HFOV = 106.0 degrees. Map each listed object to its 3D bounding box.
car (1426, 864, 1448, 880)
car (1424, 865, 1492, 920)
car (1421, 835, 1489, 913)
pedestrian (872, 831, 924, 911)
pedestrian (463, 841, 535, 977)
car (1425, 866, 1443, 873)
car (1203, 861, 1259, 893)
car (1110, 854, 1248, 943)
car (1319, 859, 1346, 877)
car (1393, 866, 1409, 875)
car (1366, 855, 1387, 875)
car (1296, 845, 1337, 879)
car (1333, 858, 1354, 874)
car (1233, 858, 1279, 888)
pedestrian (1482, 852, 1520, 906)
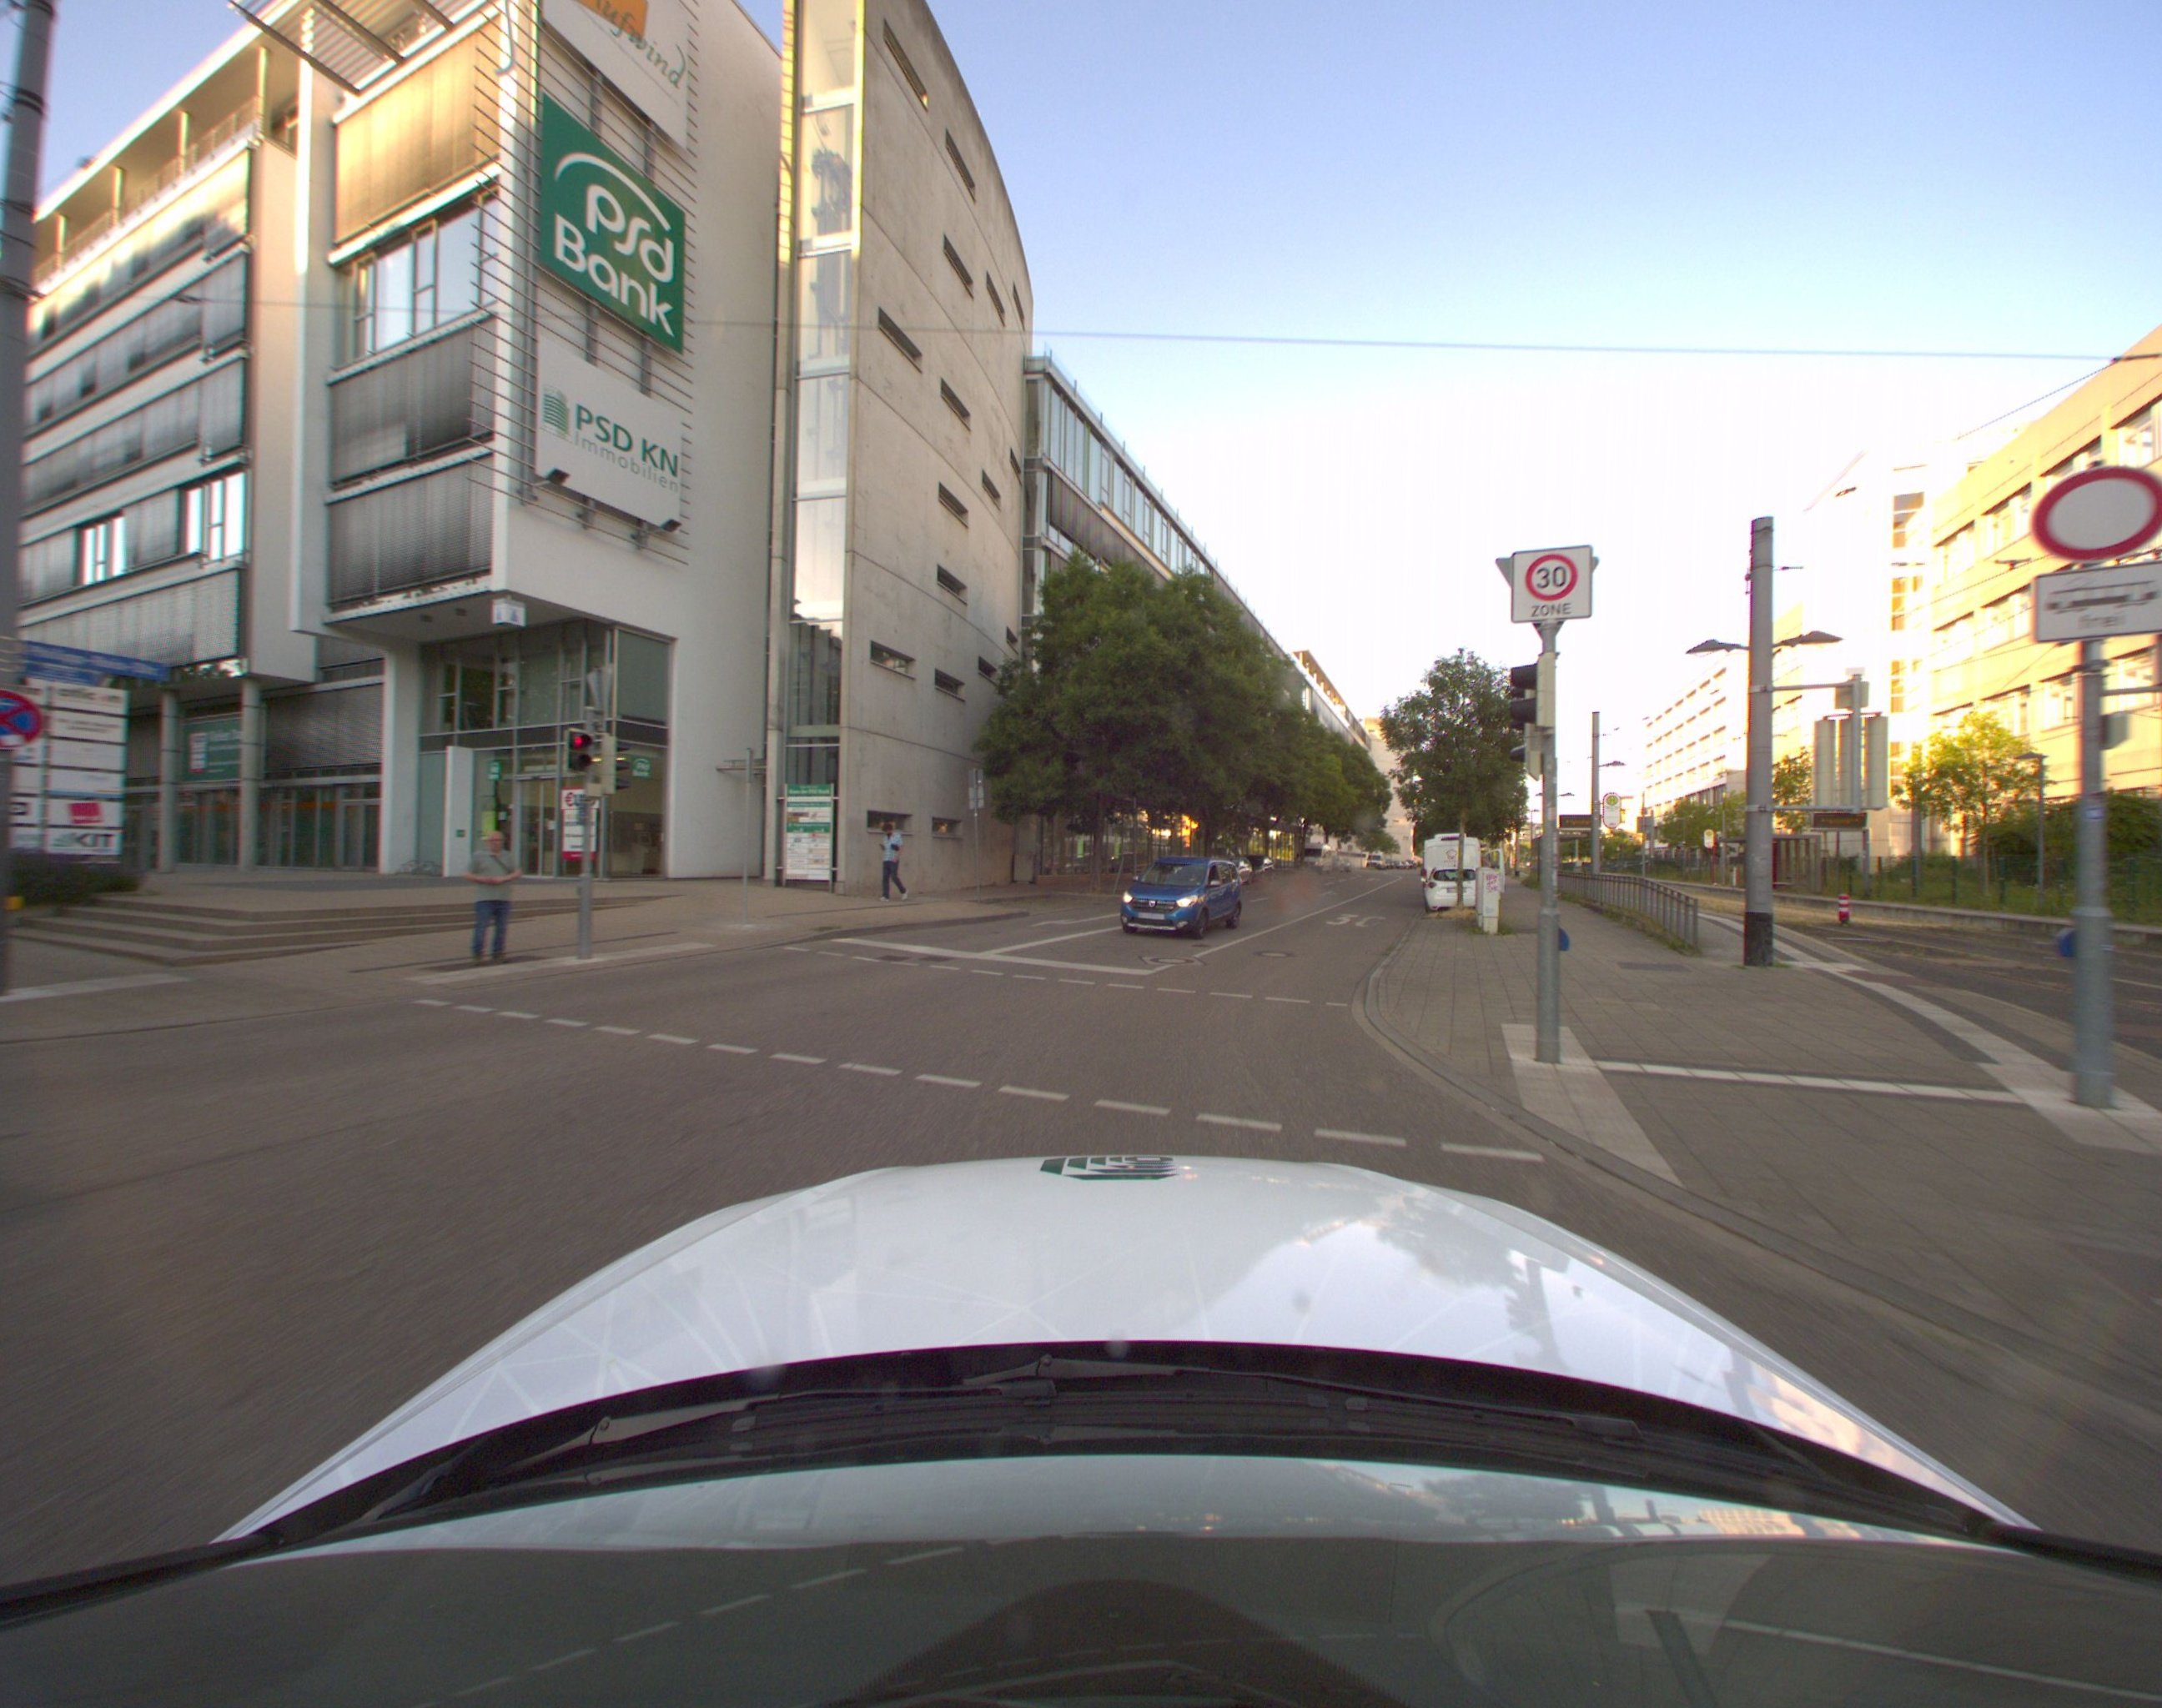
[{"bbox_3d":[33.427,1.677,76.560,1.772,1.452,4.539,1,0,22],"label":"car"},{"bbox_3d":[11.810,1.156,25.644,1.732,1.584,4.035,-3,-2,24],"label":"car"},{"bbox_3d":[14.060,0.744,30.780,2.032,2.657,5.464,-3,-2,24],"label":"car"},{"bbox_3d":[-4.577,0.416,20.418,0.692,1.882,0.883,8,2,21],"label":"pedestrian"},{"bbox_3d":[-7.595,0.692,10.633,0.711,1.701,0.540,2,-1,-38],"label":"pedestrian"},{"bbox_3d":[69.371,3.048,160.103,1.926,1.382,4.426,4,1,41],"label":"car"},{"bbox_3d":[7.889,1.165,42.546,1.688,1.461,4.653,4,1,25],"label":"car"},{"bbox_3d":[2.320,0.895,18.168,1.732,1.678,4.298,2,0,26],"label":"car"},{"bbox_3d":[24.060,1.309,77.888,1.827,1.571,4.292,1,0,25],"label":"car"},{"bbox_3d":[56.005,2.934,142.526,1.706,1.457,4.298,3,1,31],"label":"car"},{"bbox_3d":[42.157,1.528,116.170,1.940,2.616,6.933,3,1,27],"label":"car"},{"bbox_3d":[19.722,0.674,67.953,2.081,2.663,6.991,1,0,25],"label":"car"},{"bbox_3d":[26.645,1.209,82.625,1.700,1.452,4.421,1,0,21],"label":"car"},{"bbox_3d":[10.332,1.077,47.747,1.576,1.568,4.497,4,1,25],"label":"car"},{"bbox_3d":[16.013,0.940,31.065,0.979,2.014,0.802,1,-1,-20],"label":"pedestrian"}]
